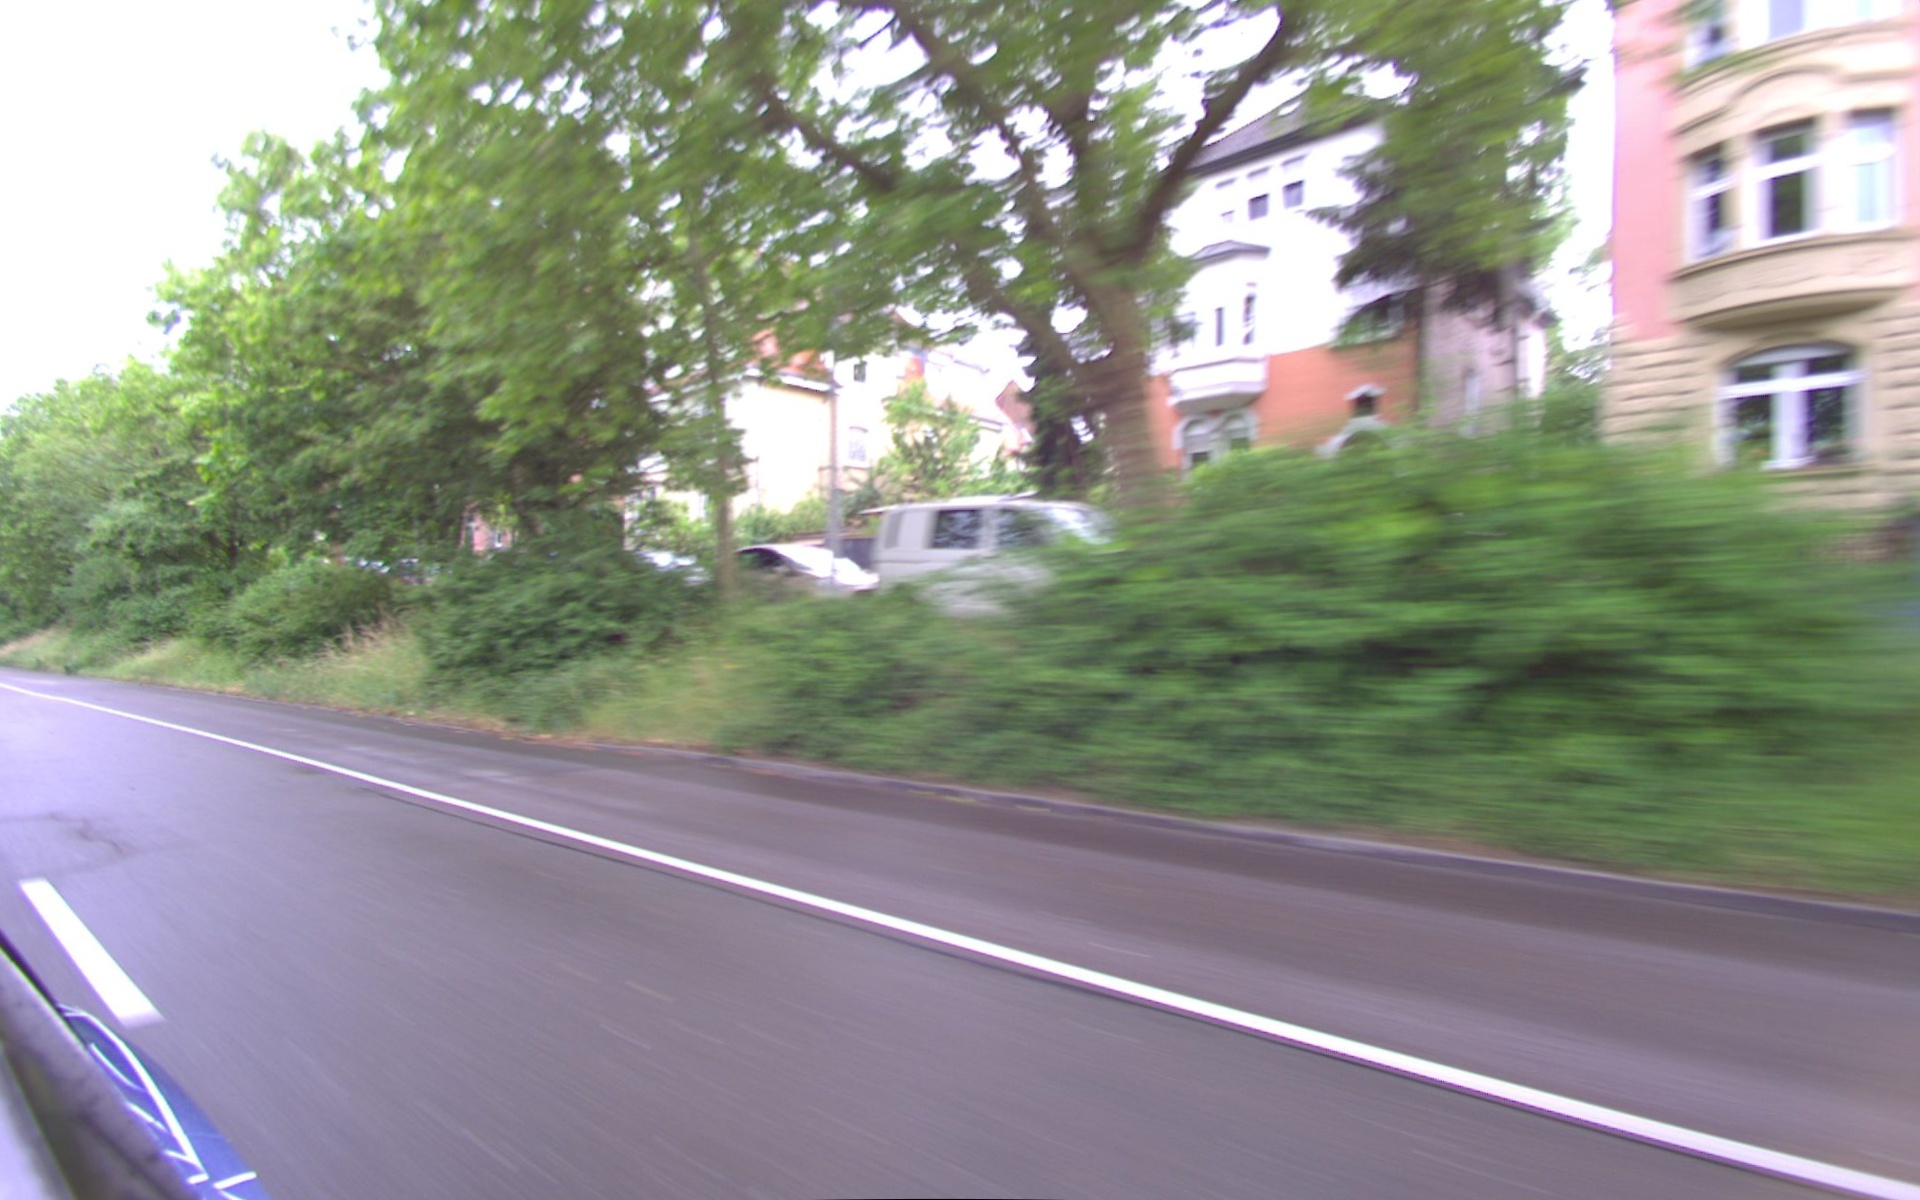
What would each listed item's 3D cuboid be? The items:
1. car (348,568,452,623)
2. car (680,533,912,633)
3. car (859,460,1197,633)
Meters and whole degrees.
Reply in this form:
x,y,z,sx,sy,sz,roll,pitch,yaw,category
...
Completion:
x,y,z,sx,sy,sz,roll,pitch,yaw,category
-18.168,-0.113,32.760,4.288,1.569,1.809,-3,-1,45,car
-3.123,-0.227,18.544,1.809,1.569,4.629,-1,-1,-45,car
0.811,-0.592,14.445,4.629,2.029,1.971,-3,-1,45,car
